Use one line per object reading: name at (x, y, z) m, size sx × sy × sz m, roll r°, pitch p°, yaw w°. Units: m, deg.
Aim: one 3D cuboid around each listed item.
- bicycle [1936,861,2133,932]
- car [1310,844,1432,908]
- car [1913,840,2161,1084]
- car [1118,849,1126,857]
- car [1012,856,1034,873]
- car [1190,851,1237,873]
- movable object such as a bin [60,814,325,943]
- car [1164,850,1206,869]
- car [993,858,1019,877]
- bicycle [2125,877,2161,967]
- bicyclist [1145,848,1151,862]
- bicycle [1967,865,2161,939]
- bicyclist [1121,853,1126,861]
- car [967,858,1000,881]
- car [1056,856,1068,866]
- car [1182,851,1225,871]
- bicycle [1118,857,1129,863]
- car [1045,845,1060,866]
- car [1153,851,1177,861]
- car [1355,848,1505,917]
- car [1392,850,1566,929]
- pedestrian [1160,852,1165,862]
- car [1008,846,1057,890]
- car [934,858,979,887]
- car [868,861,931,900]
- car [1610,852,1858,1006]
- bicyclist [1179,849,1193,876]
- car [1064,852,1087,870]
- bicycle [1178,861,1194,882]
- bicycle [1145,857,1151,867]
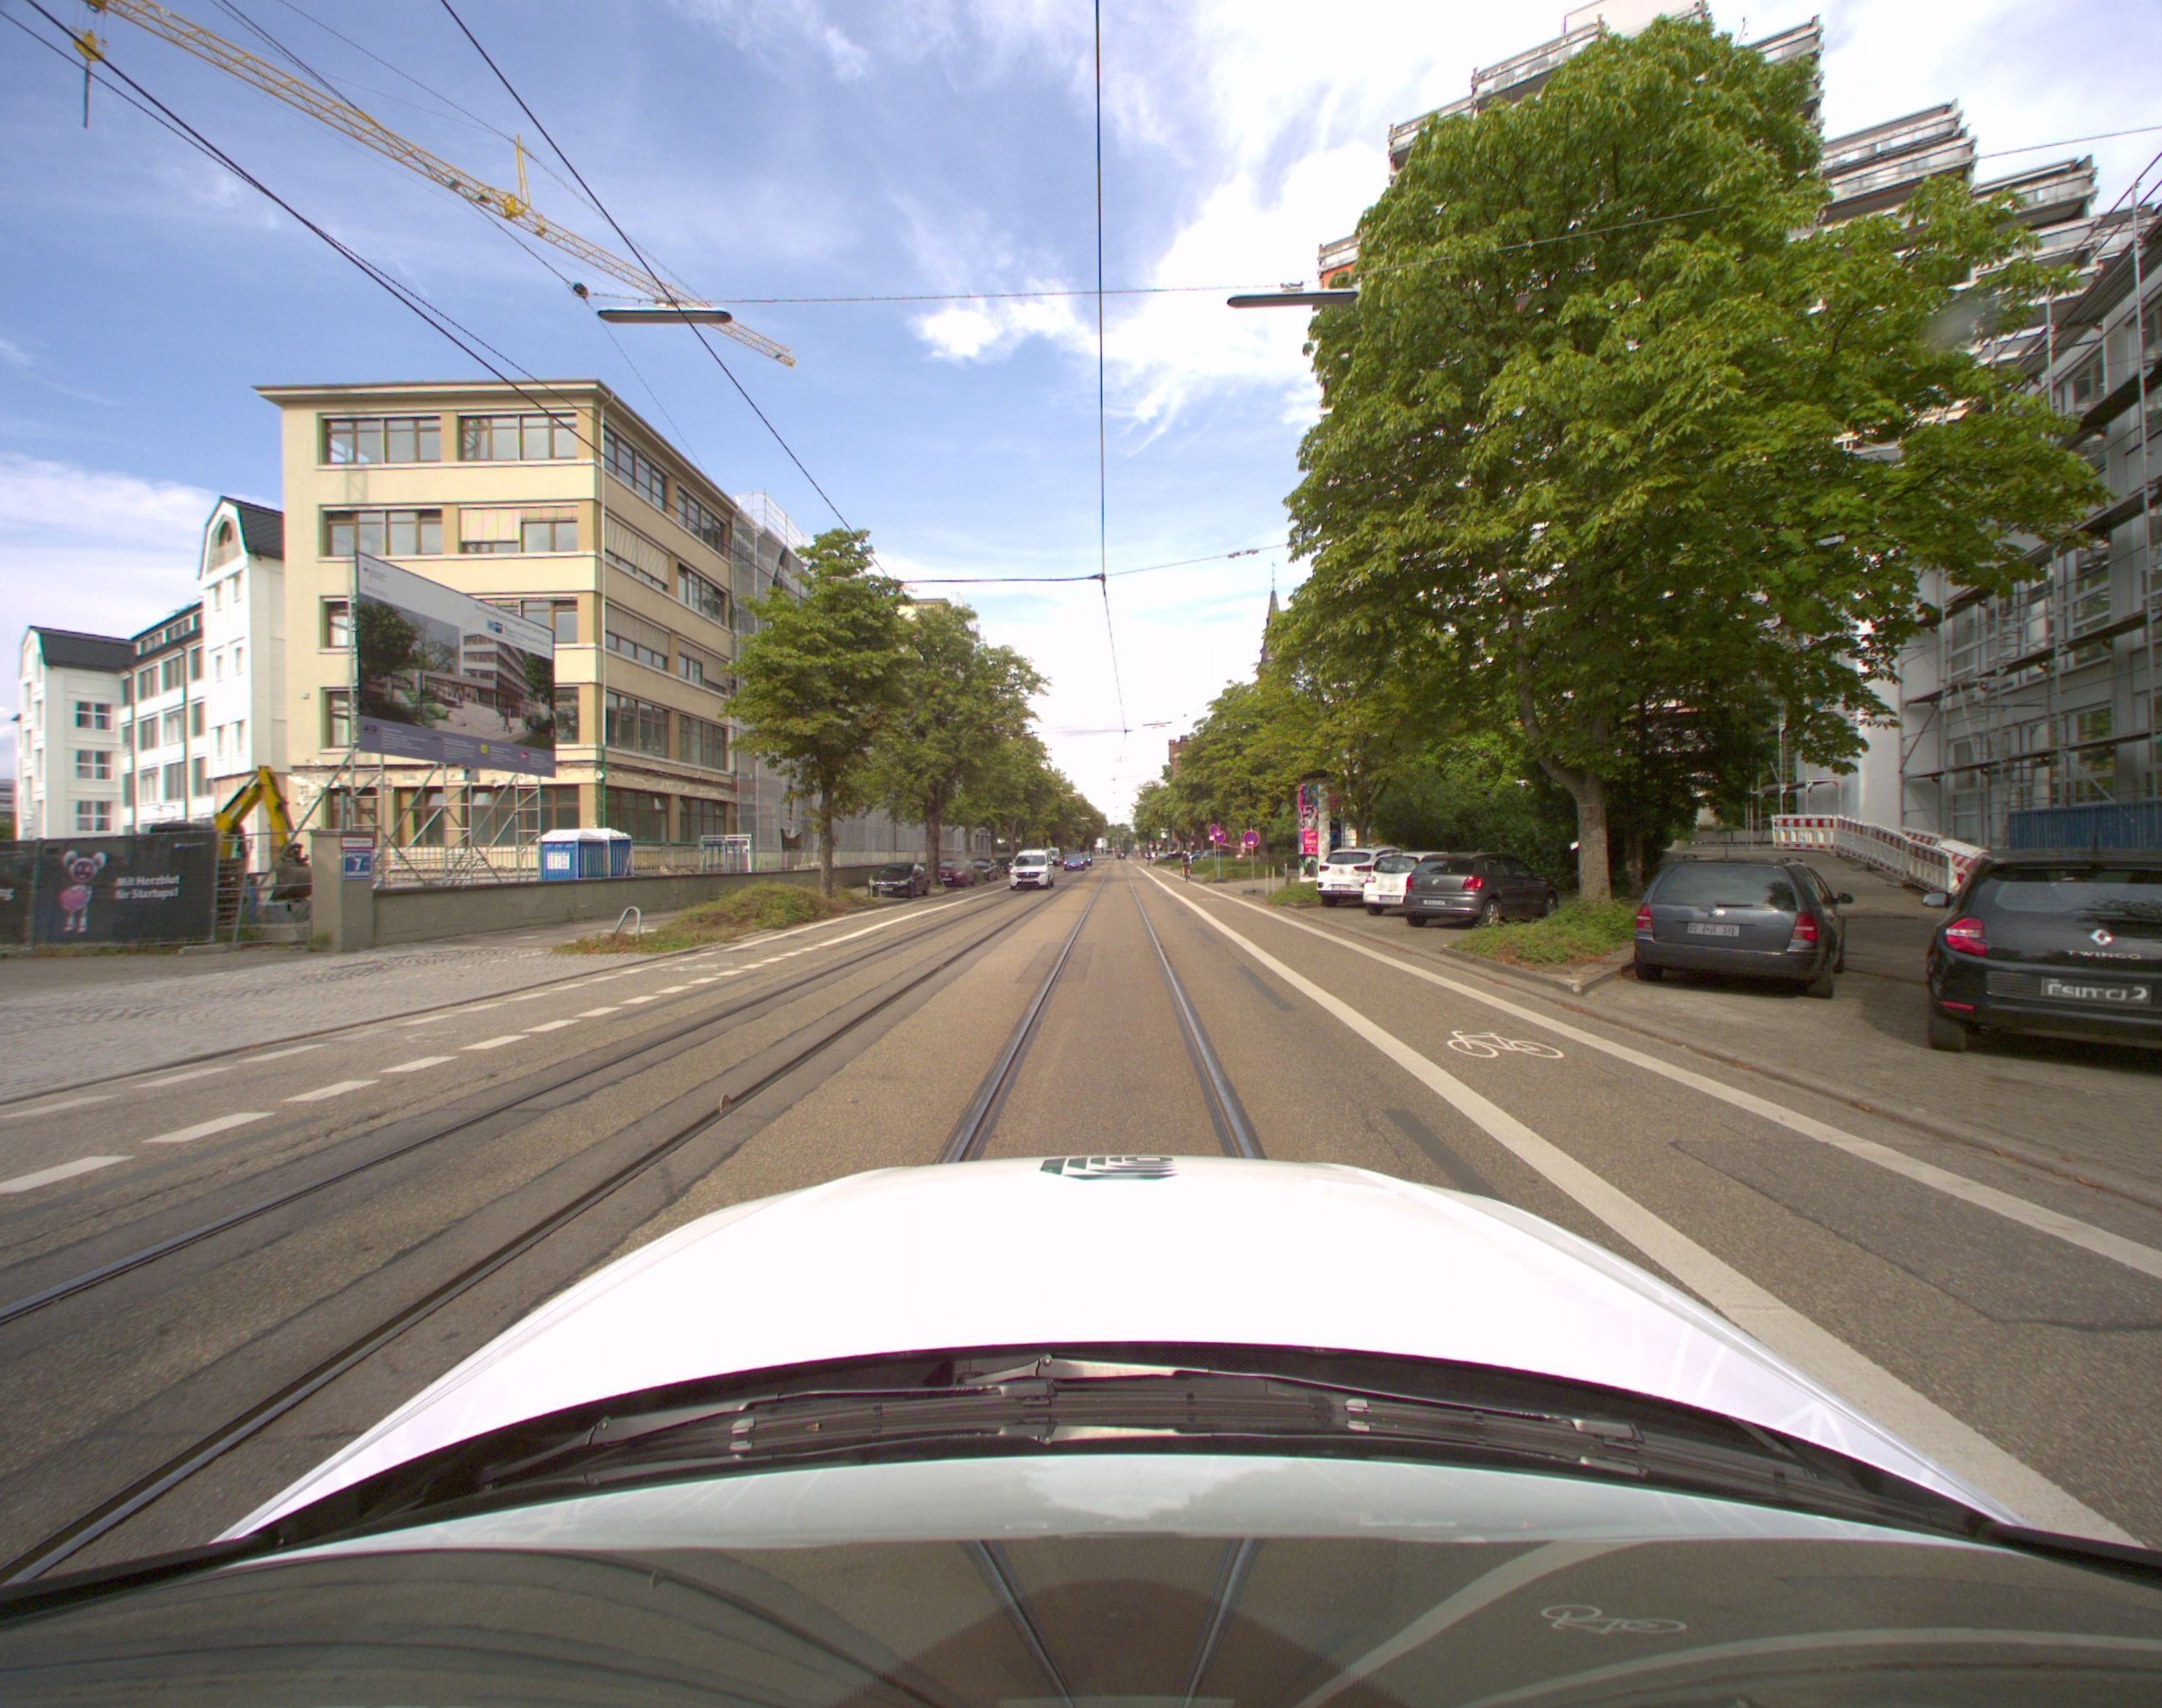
bicycle at (15.117, 0.644, 12.997) m, size 1.952 × 1.043 × 0.598 m, roll 0°, pitch 0°, yaw 39°
car at (8.053, 0.562, 22.489) m, size 3.667 × 1.602 × 1.661 m, roll 0°, pitch -1°, yaw -43°
car at (7.889, 0.667, 6.490) m, size 3.436 × 1.537 × 1.577 m, roll -1°, pitch 0°, yaw -41°
car at (9.703, -0.143, 192.762) m, size 1.788 × 1.824 × 4.680 m, roll 0°, pitch 0°, yaw 2°
car at (-5.173, 0.925, 73.017) m, size 1.585 × 1.402 × 3.962 m, roll 0°, pitch 0°, yaw 0°
car at (10.033, 0.593, 61.546) m, size 3.667 × 1.602 × 1.661 m, roll 0°, pitch -1°, yaw -43°
movable object such as a bin at (-18.350, 0.497, 16.960) m, size 3.030 × 2.443 × 2.506 m, roll -1°, pitch -1°, yaw 12°
car at (9.008, 0.487, 70.492) m, size 3.667 × 1.602 × 1.661 m, roll 0°, pitch -1°, yaw -43°
car at (-5.778, 0.994, 62.725) m, size 1.585 × 1.402 × 3.962 m, roll 0°, pitch 0°, yaw 0°
bicycle at (13.617, 0.792, 9.424) m, size 1.817 × 1.043 × 0.456 m, roll -2°, pitch -1°, yaw 31°
bicyclist at (7.145, 0.126, 86.820) m, size 0.656 × 1.496 × 0.930 m, roll -1°, pitch 0°, yaw 3°
bicycle at (14.752, 0.686, 12.162) m, size 1.952 × 1.043 × 0.598 m, roll -1°, pitch 0°, yaw 30°
bicyclist at (8.754, 0.613, 168.157) m, size 0.841 × 1.504 × 0.771 m, roll -1°, pitch 0°, yaw 10°
car at (-6.234, 0.953, 52.417) m, size 1.585 × 1.402 × 3.962 m, roll 0°, pitch 0°, yaw 0°
car at (-2.816, 0.957, 119.245) m, size 1.585 × 1.402 × 3.962 m, roll 0°, pitch 0°, yaw 0°
car at (10.319, 0.594, 68.309) m, size 3.667 × 1.602 × 1.661 m, roll 0°, pitch -1°, yaw -43°
bicycle at (8.722, 1.221, 168.164) m, size 2.260 × 1.189 × 0.771 m, roll -1°, pitch 0°, yaw 10°
car at (-3.682, 0.204, 106.777) m, size 1.715 × 2.704 × 5.470 m, roll 0°, pitch 0°, yaw 0°
car at (14.860, 0.387, 144.624) m, size 3.978 × 1.693 × 1.998 m, roll -1°, pitch 0°, yaw -3°
car at (8.297, 0.624, 19.264) m, size 3.663 × 1.474 × 1.663 m, roll 0°, pitch -1°, yaw -37°
car at (8.026, 0.640, 16.341) m, size 3.663 × 1.419 × 1.663 m, roll 0°, pitch -1°, yaw -37°
pedestrian at (14.524, 0.602, 144.586) m, size 0.742 × 1.790 × 0.734 m, roll -1°, pitch -1°, yaw 17°
car at (-2.159, 0.598, 37.304) m, size 1.725 × 1.884 × 4.381 m, roll -1°, pitch 0°, yaw 3°
car at (-6.550, 0.945, 43.217) m, size 1.629 × 1.496 × 3.964 m, roll 0°, pitch 0°, yaw 2°
car at (-7.170, 1.020, 32.565) m, size 1.585 × 1.402 × 3.962 m, roll 0°, pitch 0°, yaw 0°
car at (7.884, 0.703, 9.677) m, size 4.194 × 1.415 × 1.794 m, roll 0°, pitch -1°, yaw -45°
bicyclist at (5.646, 0.458, 43.841) m, size 0.591 × 1.459 × 0.875 m, roll -1°, pitch 0°, yaw 0°
car at (-0.464, 0.603, 72.882) m, size 1.725 × 1.496 × 4.381 m, roll -1°, pitch 0°, yaw 2°
bicycle at (5.647, 0.923, 43.842) m, size 0.591 × 1.043 × 1.978 m, roll -1°, pitch 0°, yaw 0°
bicycle at (7.151, 0.833, 86.893) m, size 0.661 × 1.043 × 1.842 m, roll -1°, pitch 0°, yaw 3°
